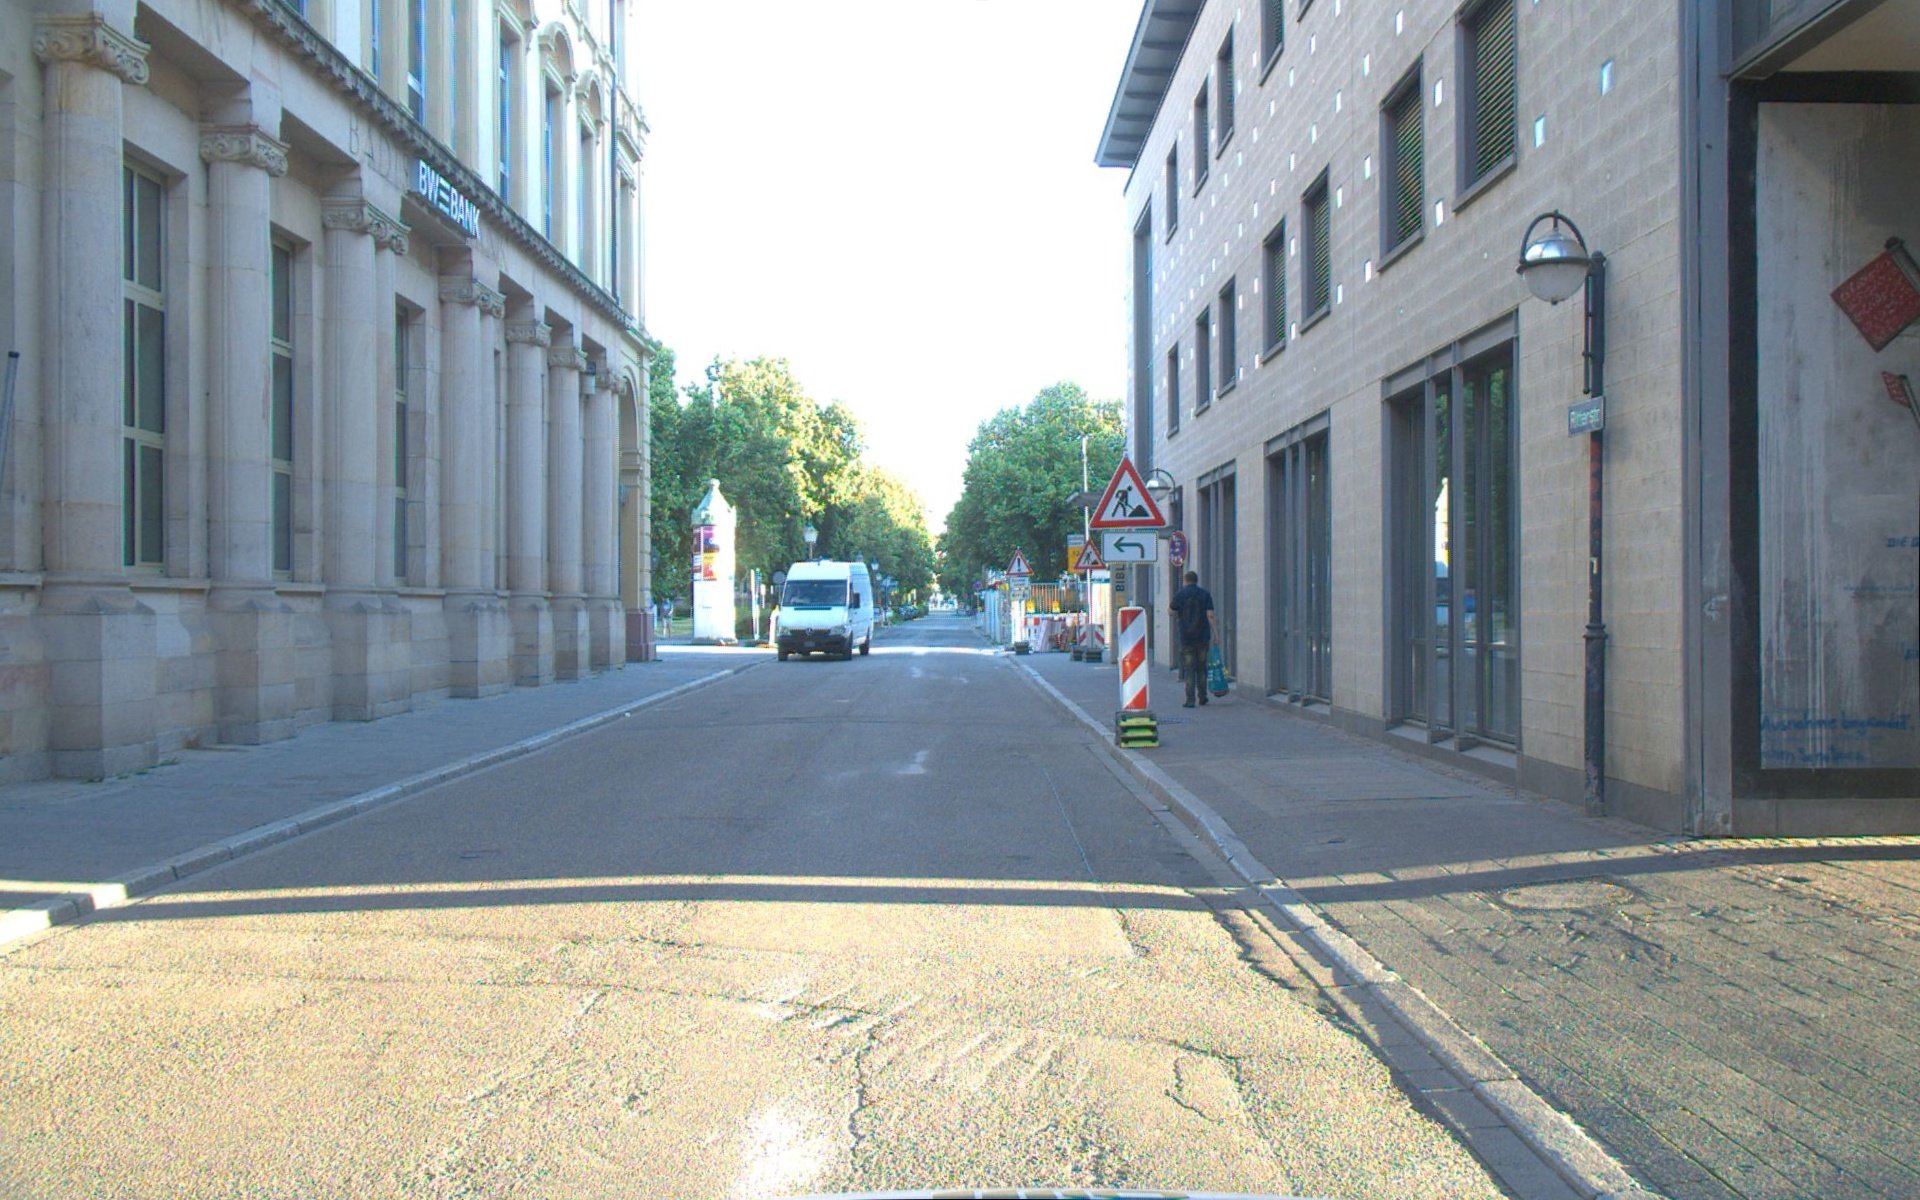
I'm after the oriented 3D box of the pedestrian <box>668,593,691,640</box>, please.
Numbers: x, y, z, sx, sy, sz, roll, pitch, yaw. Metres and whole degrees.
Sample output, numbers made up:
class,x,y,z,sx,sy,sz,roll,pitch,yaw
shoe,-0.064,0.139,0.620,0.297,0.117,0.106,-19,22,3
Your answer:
class,x,y,z,sx,sy,sz,roll,pitch,yaw
pedestrian,-10.887,0.633,64.240,0.835,1.839,0.661,0,0,-14

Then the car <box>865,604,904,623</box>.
class,x,y,z,sx,sy,sz,roll,pitch,yaw
car,-7.337,1.304,160.851,3.486,1.814,1.791,-1,-1,9

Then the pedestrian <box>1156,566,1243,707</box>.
class,x,y,z,sx,sy,sz,roll,pitch,yaw
pedestrian,3.217,0.486,22.327,0.980,1.835,0.881,-2,-1,-1

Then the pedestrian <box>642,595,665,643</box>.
class,x,y,z,sx,sy,sz,roll,pitch,yaw
pedestrian,-11.855,0.715,63.946,0.835,1.839,0.661,0,0,-14

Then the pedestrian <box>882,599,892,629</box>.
class,x,y,z,sx,sy,sz,roll,pitch,yaw
pedestrian,-5.069,0.989,114.630,0.598,2.049,0.903,0,0,-9

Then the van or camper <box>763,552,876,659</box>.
class,x,y,z,sx,sy,sz,roll,pitch,yaw
van or camper,-3.618,0.128,43.781,2.173,2.630,6.374,0,0,2
